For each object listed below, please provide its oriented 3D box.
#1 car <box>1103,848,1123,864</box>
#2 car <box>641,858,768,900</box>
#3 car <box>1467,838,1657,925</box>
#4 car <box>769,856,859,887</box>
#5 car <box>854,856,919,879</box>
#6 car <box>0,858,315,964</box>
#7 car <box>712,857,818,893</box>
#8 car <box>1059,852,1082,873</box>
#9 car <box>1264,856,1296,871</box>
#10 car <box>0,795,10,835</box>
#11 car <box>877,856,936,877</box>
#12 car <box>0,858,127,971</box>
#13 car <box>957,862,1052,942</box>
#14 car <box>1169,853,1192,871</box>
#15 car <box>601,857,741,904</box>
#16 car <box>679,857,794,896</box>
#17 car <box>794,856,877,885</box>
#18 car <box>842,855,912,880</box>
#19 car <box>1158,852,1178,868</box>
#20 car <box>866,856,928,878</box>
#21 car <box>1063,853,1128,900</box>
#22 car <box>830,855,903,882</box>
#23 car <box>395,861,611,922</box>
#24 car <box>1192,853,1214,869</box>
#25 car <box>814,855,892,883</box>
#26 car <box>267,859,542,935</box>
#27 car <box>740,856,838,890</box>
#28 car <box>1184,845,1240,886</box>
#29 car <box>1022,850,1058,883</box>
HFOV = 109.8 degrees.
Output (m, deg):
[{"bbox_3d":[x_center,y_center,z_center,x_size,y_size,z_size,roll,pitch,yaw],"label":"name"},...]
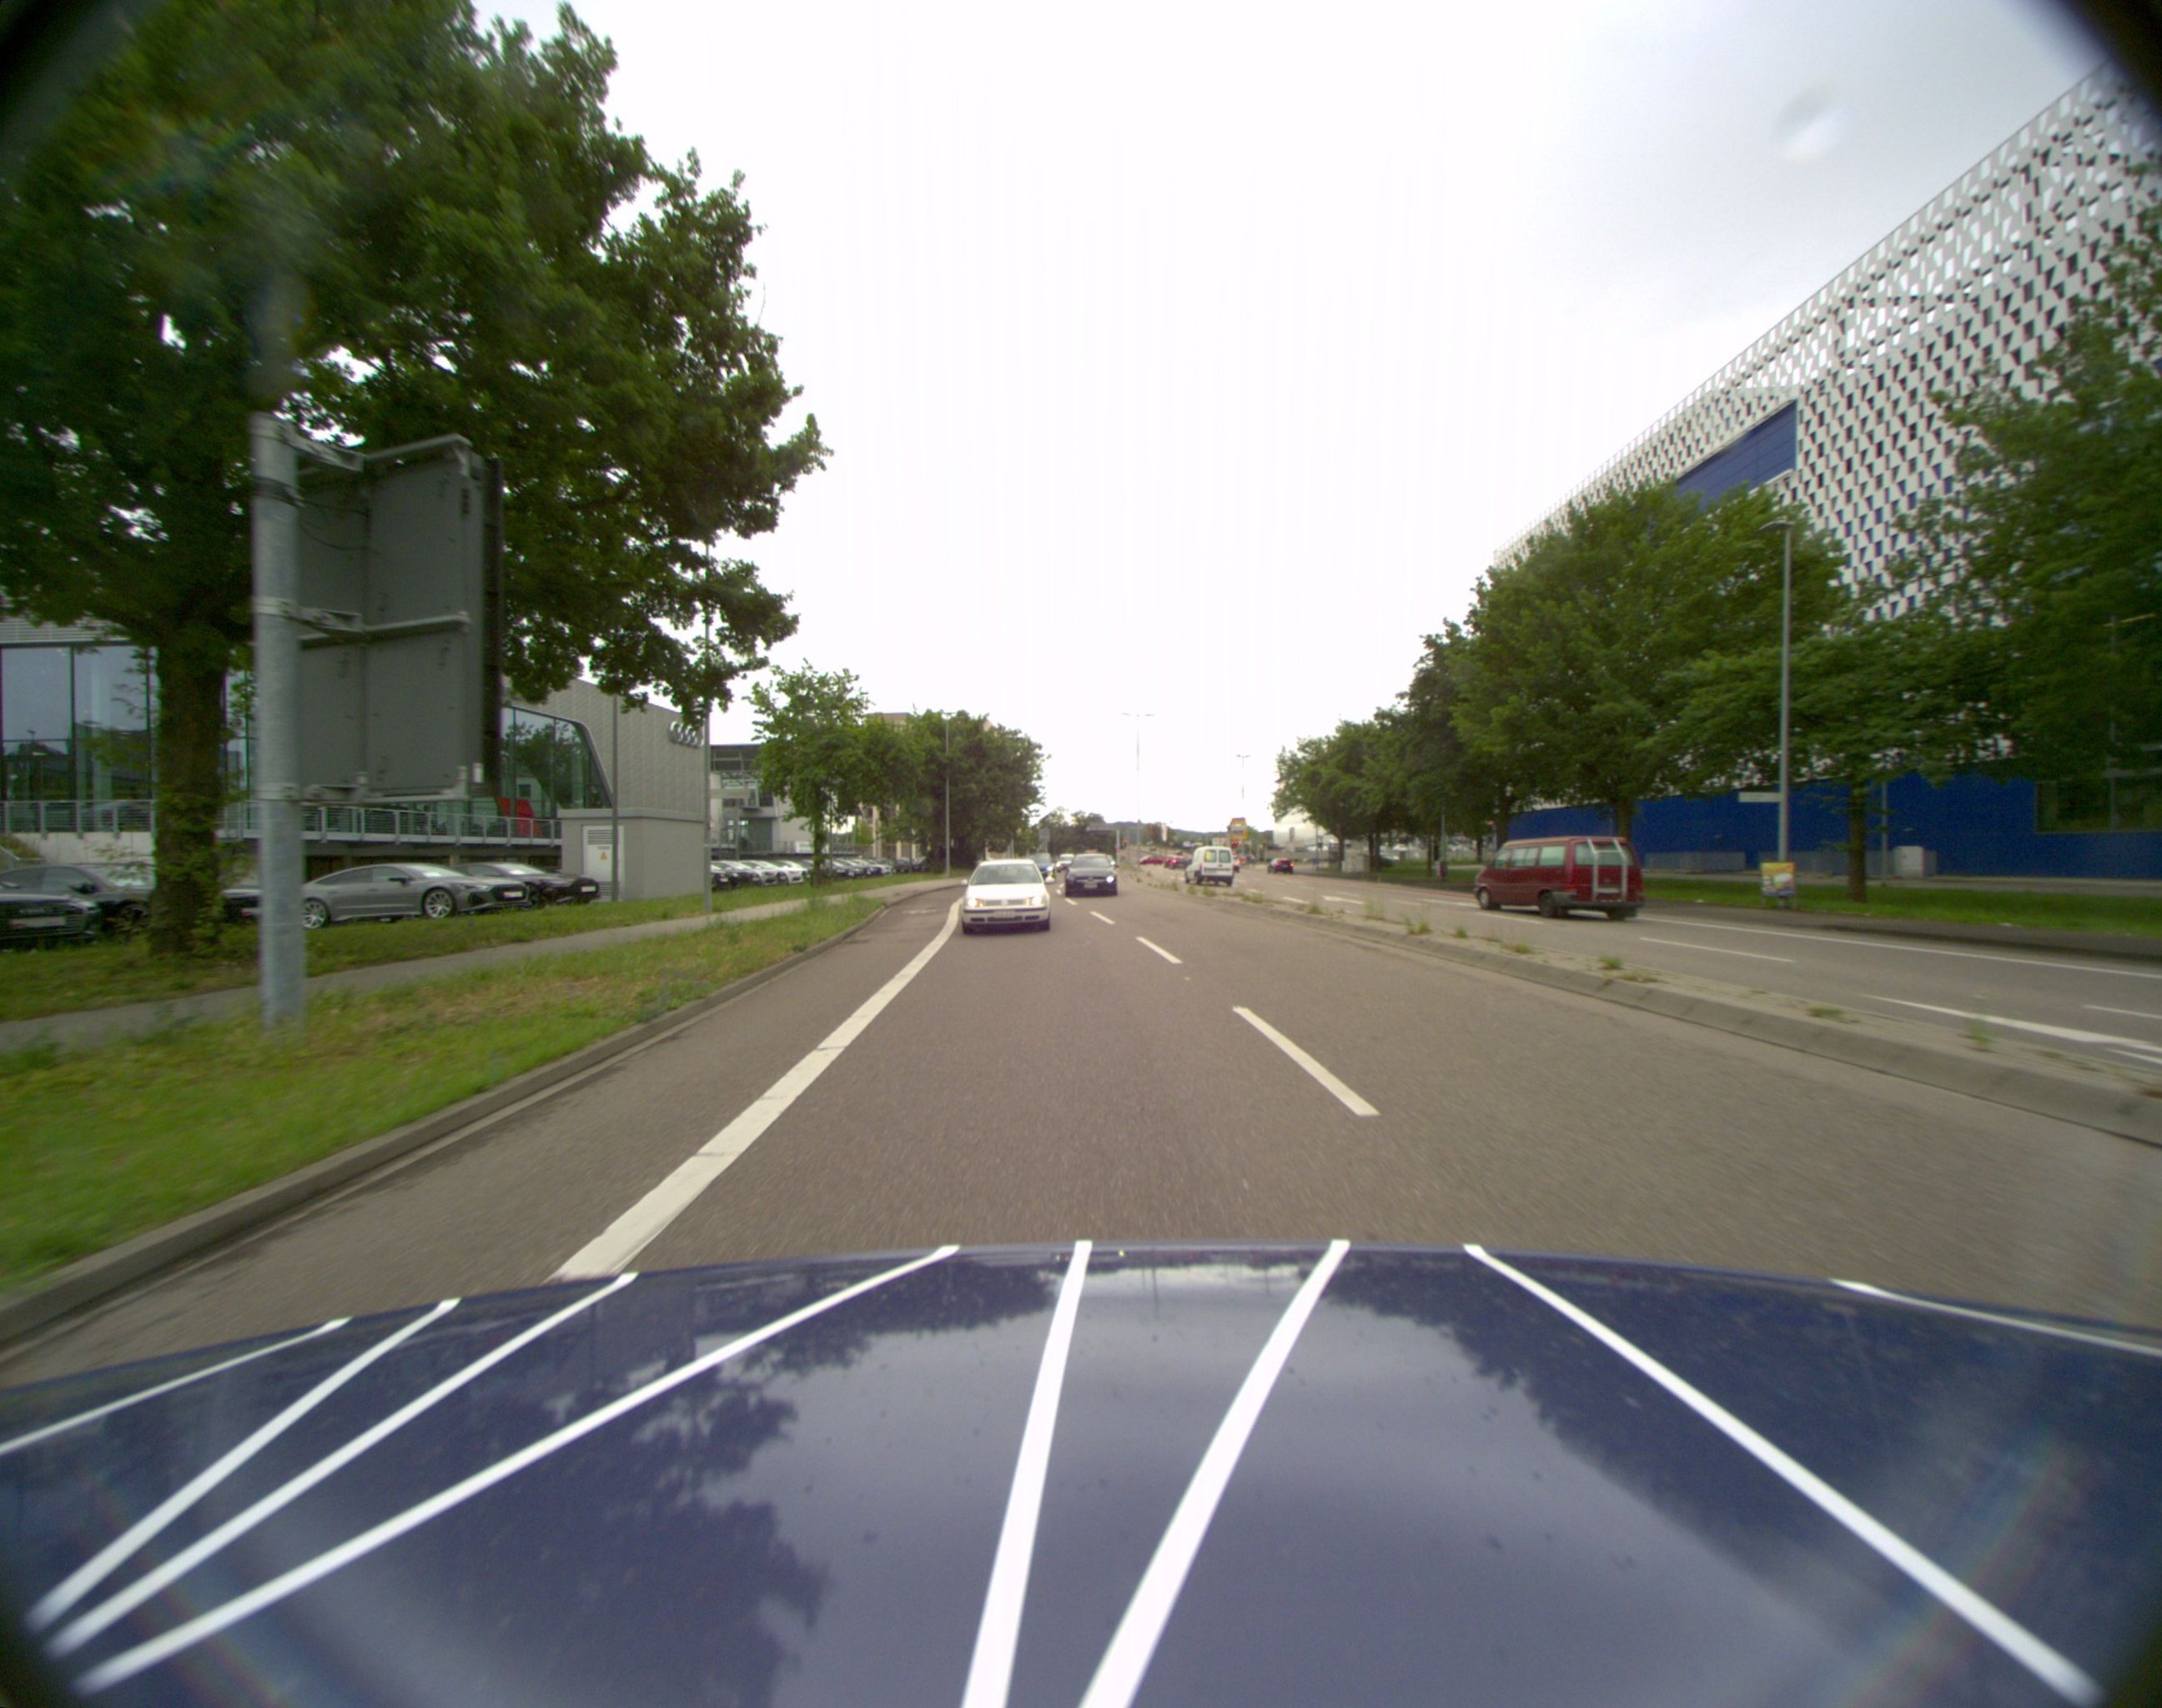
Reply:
[{"bbox_3d":[3.024,0.145,71.794,1.836,1.416,4.001,-2,0,3],"label":"car"},{"bbox_3d":[-14.720,0.952,29.832,4.040,1.384,1.728,-3,0,2],"label":"car"},{"bbox_3d":[11.859,0.619,19.218,1.771,1.913,4.909,0,0,2],"label":"car"},{"bbox_3d":[-14.005,0.915,40.019,4.040,1.384,1.728,-3,0,2],"label":"car"},{"bbox_3d":[-13.550,0.929,53.089,4.040,1.384,1.728,-3,0,2],"label":"car"},{"bbox_3d":[-15.759,0.919,12.574,4.307,1.436,1.844,-3,0,2],"label":"car"},{"bbox_3d":[-14.423,0.933,34.774,4.040,1.384,1.728,-3,0,2],"label":"car"},{"bbox_3d":[-0.964,0.751,68.497,1.995,1.838,4.104,0,0,0],"label":"car"},{"bbox_3d":[18.591,0.859,71.169,1.651,1.382,3.980,2,0,-4],"label":"car"},{"bbox_3d":[-38.691,-1.204,24.987,4.308,1.355,1.832,-3,0,1],"label":"car"},{"bbox_3d":[-13.400,0.929,58.530,4.040,1.384,1.728,-3,0,2],"label":"car"},{"bbox_3d":[-15.908,0.898,10.058,4.307,1.436,1.844,-3,0,2],"label":"car"},{"bbox_3d":[-1.552,0.917,16.264,1.727,1.416,3.939,-2,0,-4],"label":"car"},{"bbox_3d":[10.526,0.824,80.553,1.651,1.788,3.980,2,0,-4],"label":"car"},{"bbox_3d":[-14.719,0.932,27.409,4.040,1.384,1.728,-3,0,2],"label":"car"},{"bbox_3d":[-14.565,0.943,32.247,4.040,1.384,1.728,-3,0,2],"label":"car"},{"bbox_3d":[-13.777,0.905,42.756,4.040,1.384,1.728,-3,0,2],"label":"car"},{"bbox_3d":[-13.462,0.905,50.206,4.040,1.384,1.728,-3,0,2],"label":"car"},{"bbox_3d":[10.261,0.688,89.948,1.651,1.788,3.980,2,0,-4],"label":"car"},{"bbox_3d":[-13.467,0.940,55.696,4.040,1.384,1.728,-3,0,2],"label":"car"},{"bbox_3d":[0.410,0.718,25.705,1.837,1.416,3.999,-2,0,-4],"label":"car"},{"bbox_3d":[-13.498,0.906,47.943,4.040,1.384,1.728,-3,0,2],"label":"car"},{"bbox_3d":[-15.273,0.963,20.230,4.307,1.309,1.864,-3,0,2],"label":"car"},{"bbox_3d":[14.004,0.794,87.326,1.651,1.788,3.980,2,0,-4],"label":"car"},{"bbox_3d":[-13.604,0.900,45.432,4.040,1.384,1.728,-3,0,2],"label":"car"},{"bbox_3d":[-15.687,0.970,17.805,4.762,1.416,1.902,-3,0,2],"label":"car"},{"bbox_3d":[-14.195,0.925,37.109,4.040,1.384,1.728,-3,0,2],"label":"car"},{"bbox_3d":[6.025,0.495,35.377,1.651,1.788,3.980,1,0,-4],"label":"car"},{"bbox_3d":[-2.146,0.601,39.932,1.787,1.637,3.999,0,0,-3],"label":"car"}]
